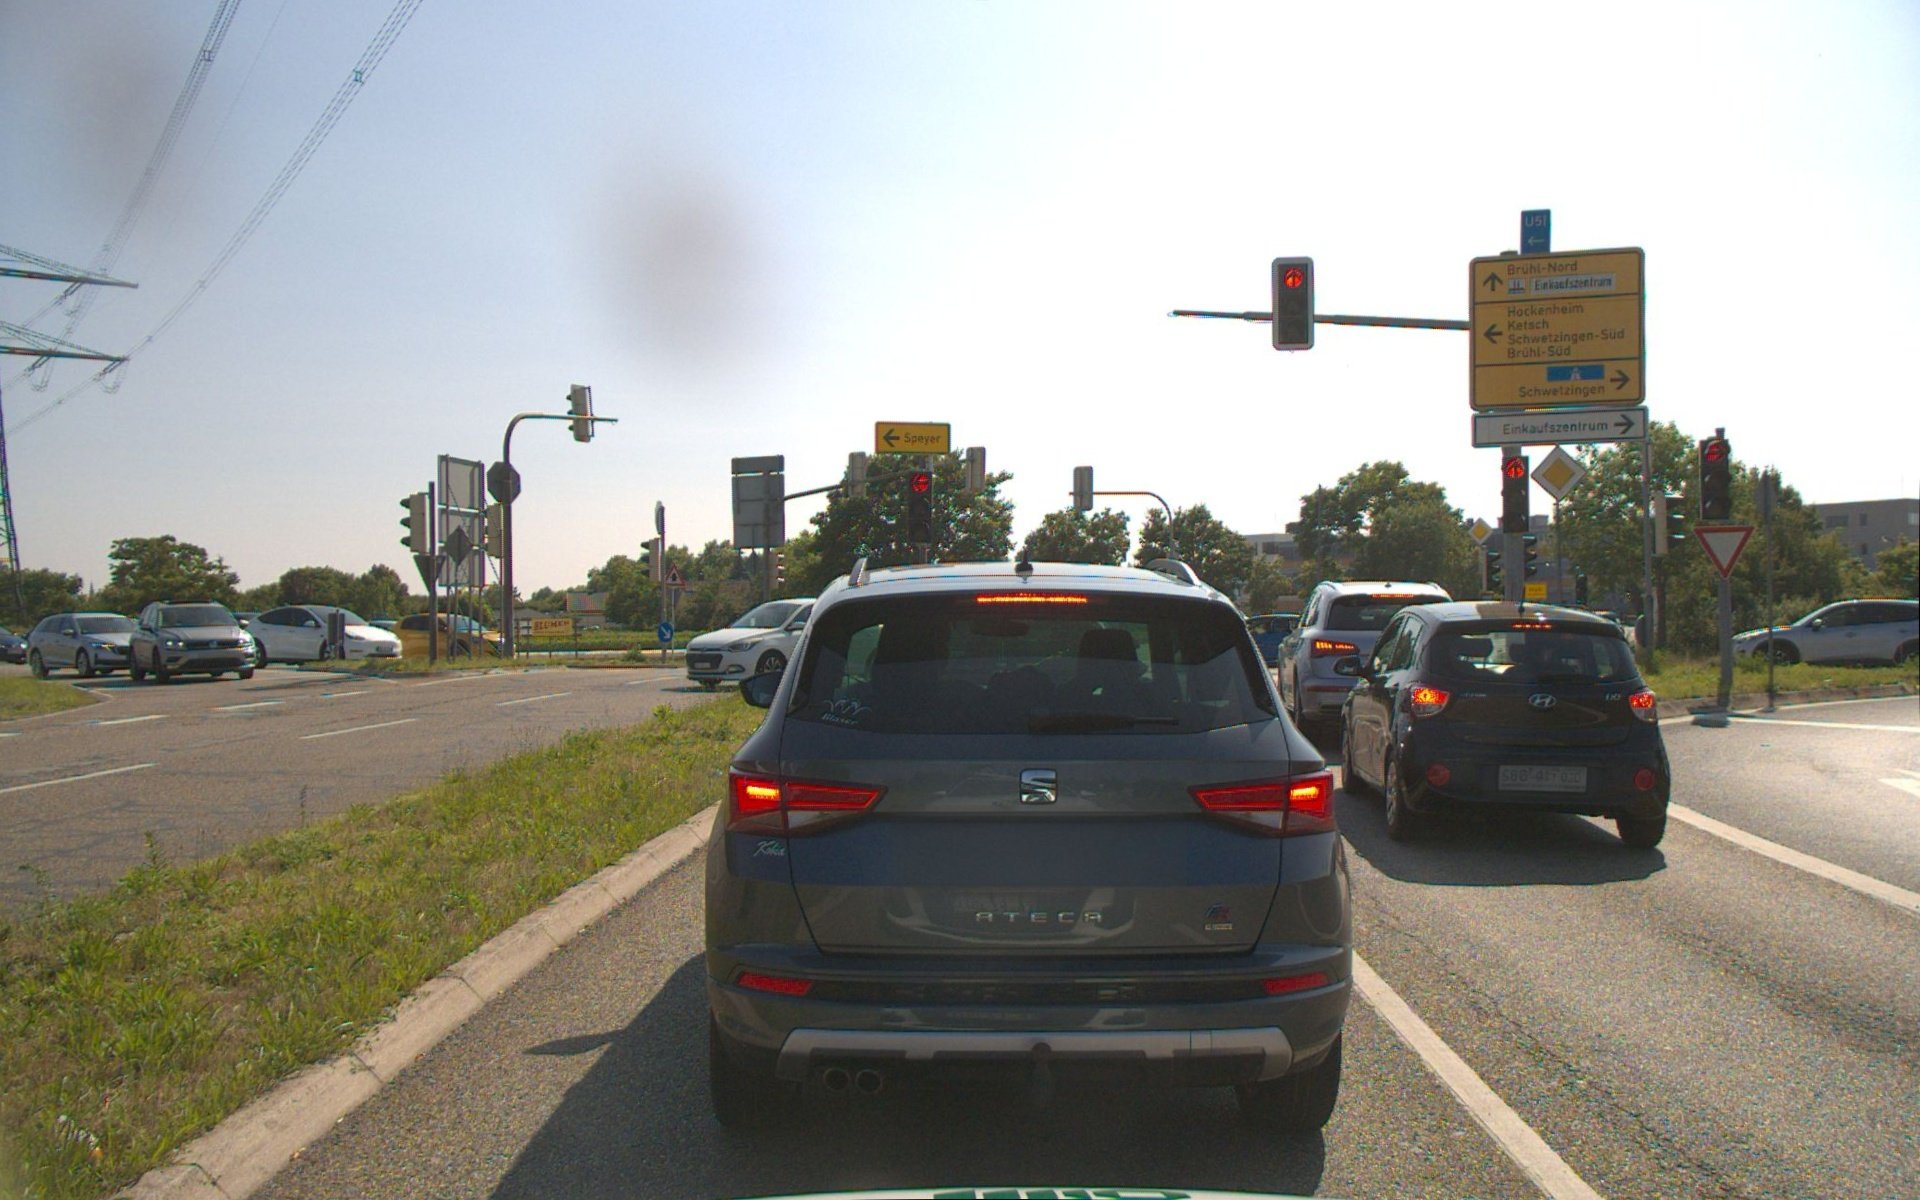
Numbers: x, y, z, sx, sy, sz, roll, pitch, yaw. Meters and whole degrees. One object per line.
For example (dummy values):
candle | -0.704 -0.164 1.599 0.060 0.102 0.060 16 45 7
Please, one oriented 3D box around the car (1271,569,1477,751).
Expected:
car | 4.290 0.576 17.616 1.598 1.706 3.752 1 0 6

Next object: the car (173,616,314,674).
car | -21.470 1.333 49.568 3.910 1.680 1.818 -1 0 27

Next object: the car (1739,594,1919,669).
car | 18.790 0.656 35.225 3.944 1.545 1.806 -1 0 25

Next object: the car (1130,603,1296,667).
car | 6.328 0.867 41.368 3.789 1.545 1.807 -1 0 23

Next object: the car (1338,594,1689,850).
car | 3.624 0.708 11.376 1.598 1.473 3.297 1 0 6

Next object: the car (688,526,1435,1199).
car | 0.215 0.654 5.649 1.706 1.596 3.623 1 0 -1

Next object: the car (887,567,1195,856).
car | 0.461 0.640 11.139 1.706 1.596 3.624 1 0 0

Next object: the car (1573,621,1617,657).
car | 31.592 1.934 82.241 1.839 1.702 3.767 1 0 24

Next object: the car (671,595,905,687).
car | -2.910 0.666 28.576 1.693 1.490 3.886 0 0 43

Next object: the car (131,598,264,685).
car | -15.794 0.816 34.169 1.800 1.680 3.949 0 0 -36

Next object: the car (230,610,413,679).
car | -16.680 1.126 43.151 4.654 1.680 1.818 0 -1 27

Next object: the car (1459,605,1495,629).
car | 37.831 1.274 121.072 1.841 1.702 3.765 1 0 28

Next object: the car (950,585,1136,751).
car | 0.915 0.650 17.267 1.705 1.510 3.626 1 0 4

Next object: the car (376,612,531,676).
car | -13.888 1.176 45.322 3.910 1.680 1.818 -1 0 27

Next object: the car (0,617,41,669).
car | -32.728 1.427 55.126 3.910 1.680 1.818 -1 0 27

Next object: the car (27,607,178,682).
car | -20.402 1.028 39.322 3.924 1.680 1.811 -1 -1 39
